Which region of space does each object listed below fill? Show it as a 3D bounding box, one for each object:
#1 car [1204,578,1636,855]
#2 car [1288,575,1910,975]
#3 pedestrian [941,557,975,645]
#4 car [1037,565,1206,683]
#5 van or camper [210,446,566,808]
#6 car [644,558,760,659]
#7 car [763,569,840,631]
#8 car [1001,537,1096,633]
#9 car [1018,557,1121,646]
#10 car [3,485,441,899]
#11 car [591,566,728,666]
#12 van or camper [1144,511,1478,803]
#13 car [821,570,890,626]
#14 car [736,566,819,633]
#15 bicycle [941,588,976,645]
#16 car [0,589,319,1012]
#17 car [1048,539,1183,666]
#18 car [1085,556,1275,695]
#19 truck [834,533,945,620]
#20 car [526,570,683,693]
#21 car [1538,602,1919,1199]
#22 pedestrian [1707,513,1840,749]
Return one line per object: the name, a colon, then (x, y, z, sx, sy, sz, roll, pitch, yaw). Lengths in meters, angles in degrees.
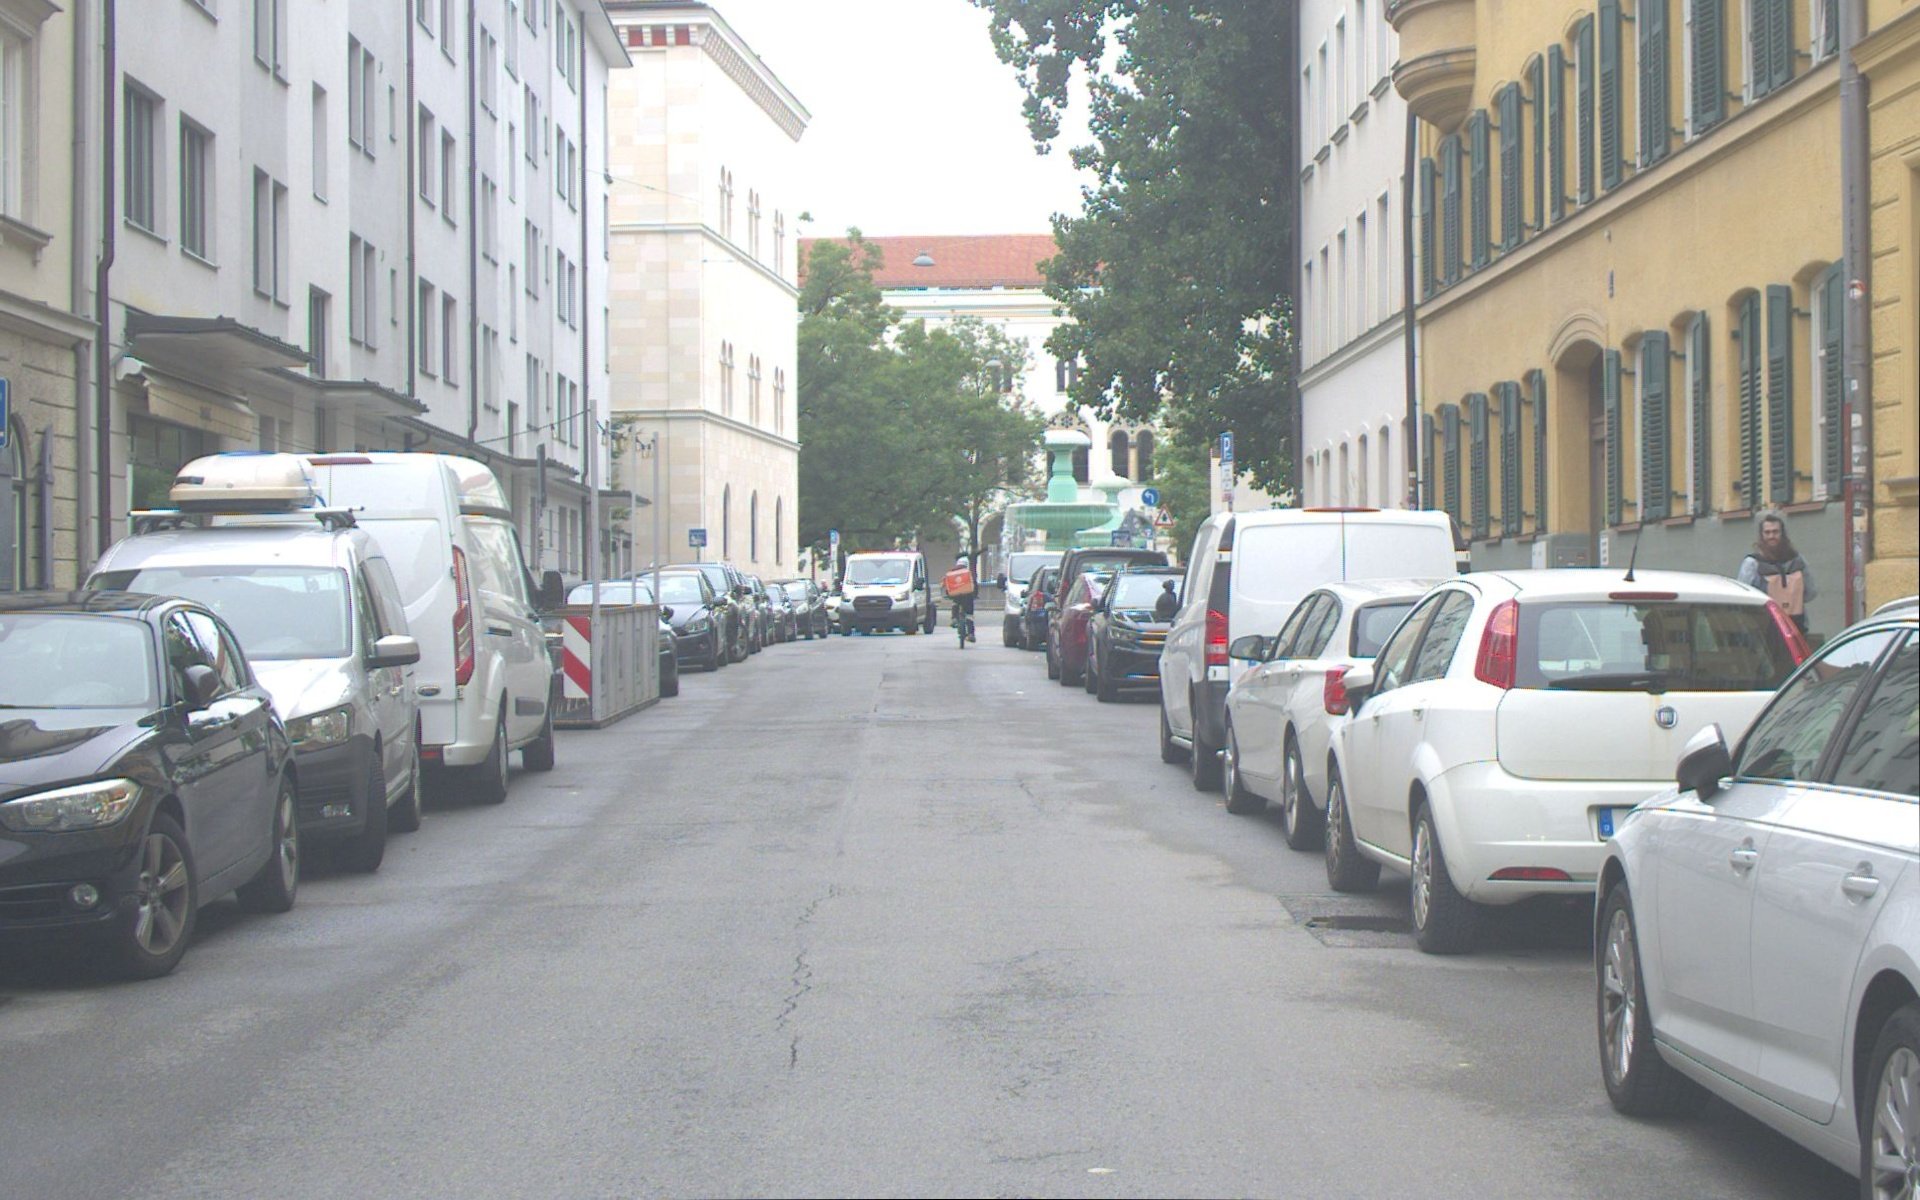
car: (2.468, 0.575, 19.420, 1.708, 1.388, 4.207, 0, 0, -2)
car: (2.522, 0.621, 14.549, 1.708, 1.449, 4.097, 0, 0, -2)
pedestrian: (-0.031, 0.016, 67.338, 0.642, 1.708, 0.843, -1, -1, 0)
car: (2.037, 0.287, 44.425, 1.811, 1.420, 4.247, 1, 0, -2)
van or camper: (-3.897, 0.149, 24.254, 1.754, 2.273, 5.273, 0, 0, -1)
car: (-4.336, 0.128, 58.208, 1.706, 1.604, 3.863, -1, 0, -1)
car: (-4.229, -0.019, 91.998, 1.706, 1.576, 3.863, -1, 0, 2)
car: (1.797, -0.306, 71.332, 1.852, 1.913, 4.769, 0, 0, 0)
car: (2.049, 0.019, 65.164, 1.812, 1.609, 4.156, 0, 0, 0)
car: (-3.901, 0.423, 18.871, 1.754, 1.988, 4.626, 0, 0, -5)
car: (-4.557, 0.228, 52.632, 1.817, 1.439, 3.818, -1, 0, -1)
van or camper: (2.376, 0.339, 24.481, 1.833, 1.865, 5.079, 0, 1, 0)
car: (-3.038, -0.062, 100.579, 1.706, 1.576, 3.863, -1, 0, 2)
car: (-4.537, -0.021, 85.849, 1.706, 1.604, 3.863, -1, 0, 2)
bicycle: (-0.022, 0.333, 67.388, 0.675, 1.091, 1.760, -1, -1, 0)
car: (-3.737, 0.669, 13.604, 1.754, 1.404, 4.103, 0, 0, -2)
car: (2.296, 0.026, 51.635, 1.812, 1.791, 4.247, 1, 0, 0)
car: (2.446, 0.265, 39.111, 1.811, 1.460, 4.247, 1, 0, -1)
truck: (-1.860, -0.589, 92.930, 2.121, 2.240, 6.183, -1, 0, 7)
car: (-4.449, 0.359, 42.583, 1.761, 1.406, 4.156, -1, 0, -8)
car: (2.602, 0.727, 7.921, 1.708, 1.404, 4.815, 0, 0, 0)
pedestrian: (5.590, 0.214, 23.651, 0.660, 1.566, 0.642, -3, -1, -1)
